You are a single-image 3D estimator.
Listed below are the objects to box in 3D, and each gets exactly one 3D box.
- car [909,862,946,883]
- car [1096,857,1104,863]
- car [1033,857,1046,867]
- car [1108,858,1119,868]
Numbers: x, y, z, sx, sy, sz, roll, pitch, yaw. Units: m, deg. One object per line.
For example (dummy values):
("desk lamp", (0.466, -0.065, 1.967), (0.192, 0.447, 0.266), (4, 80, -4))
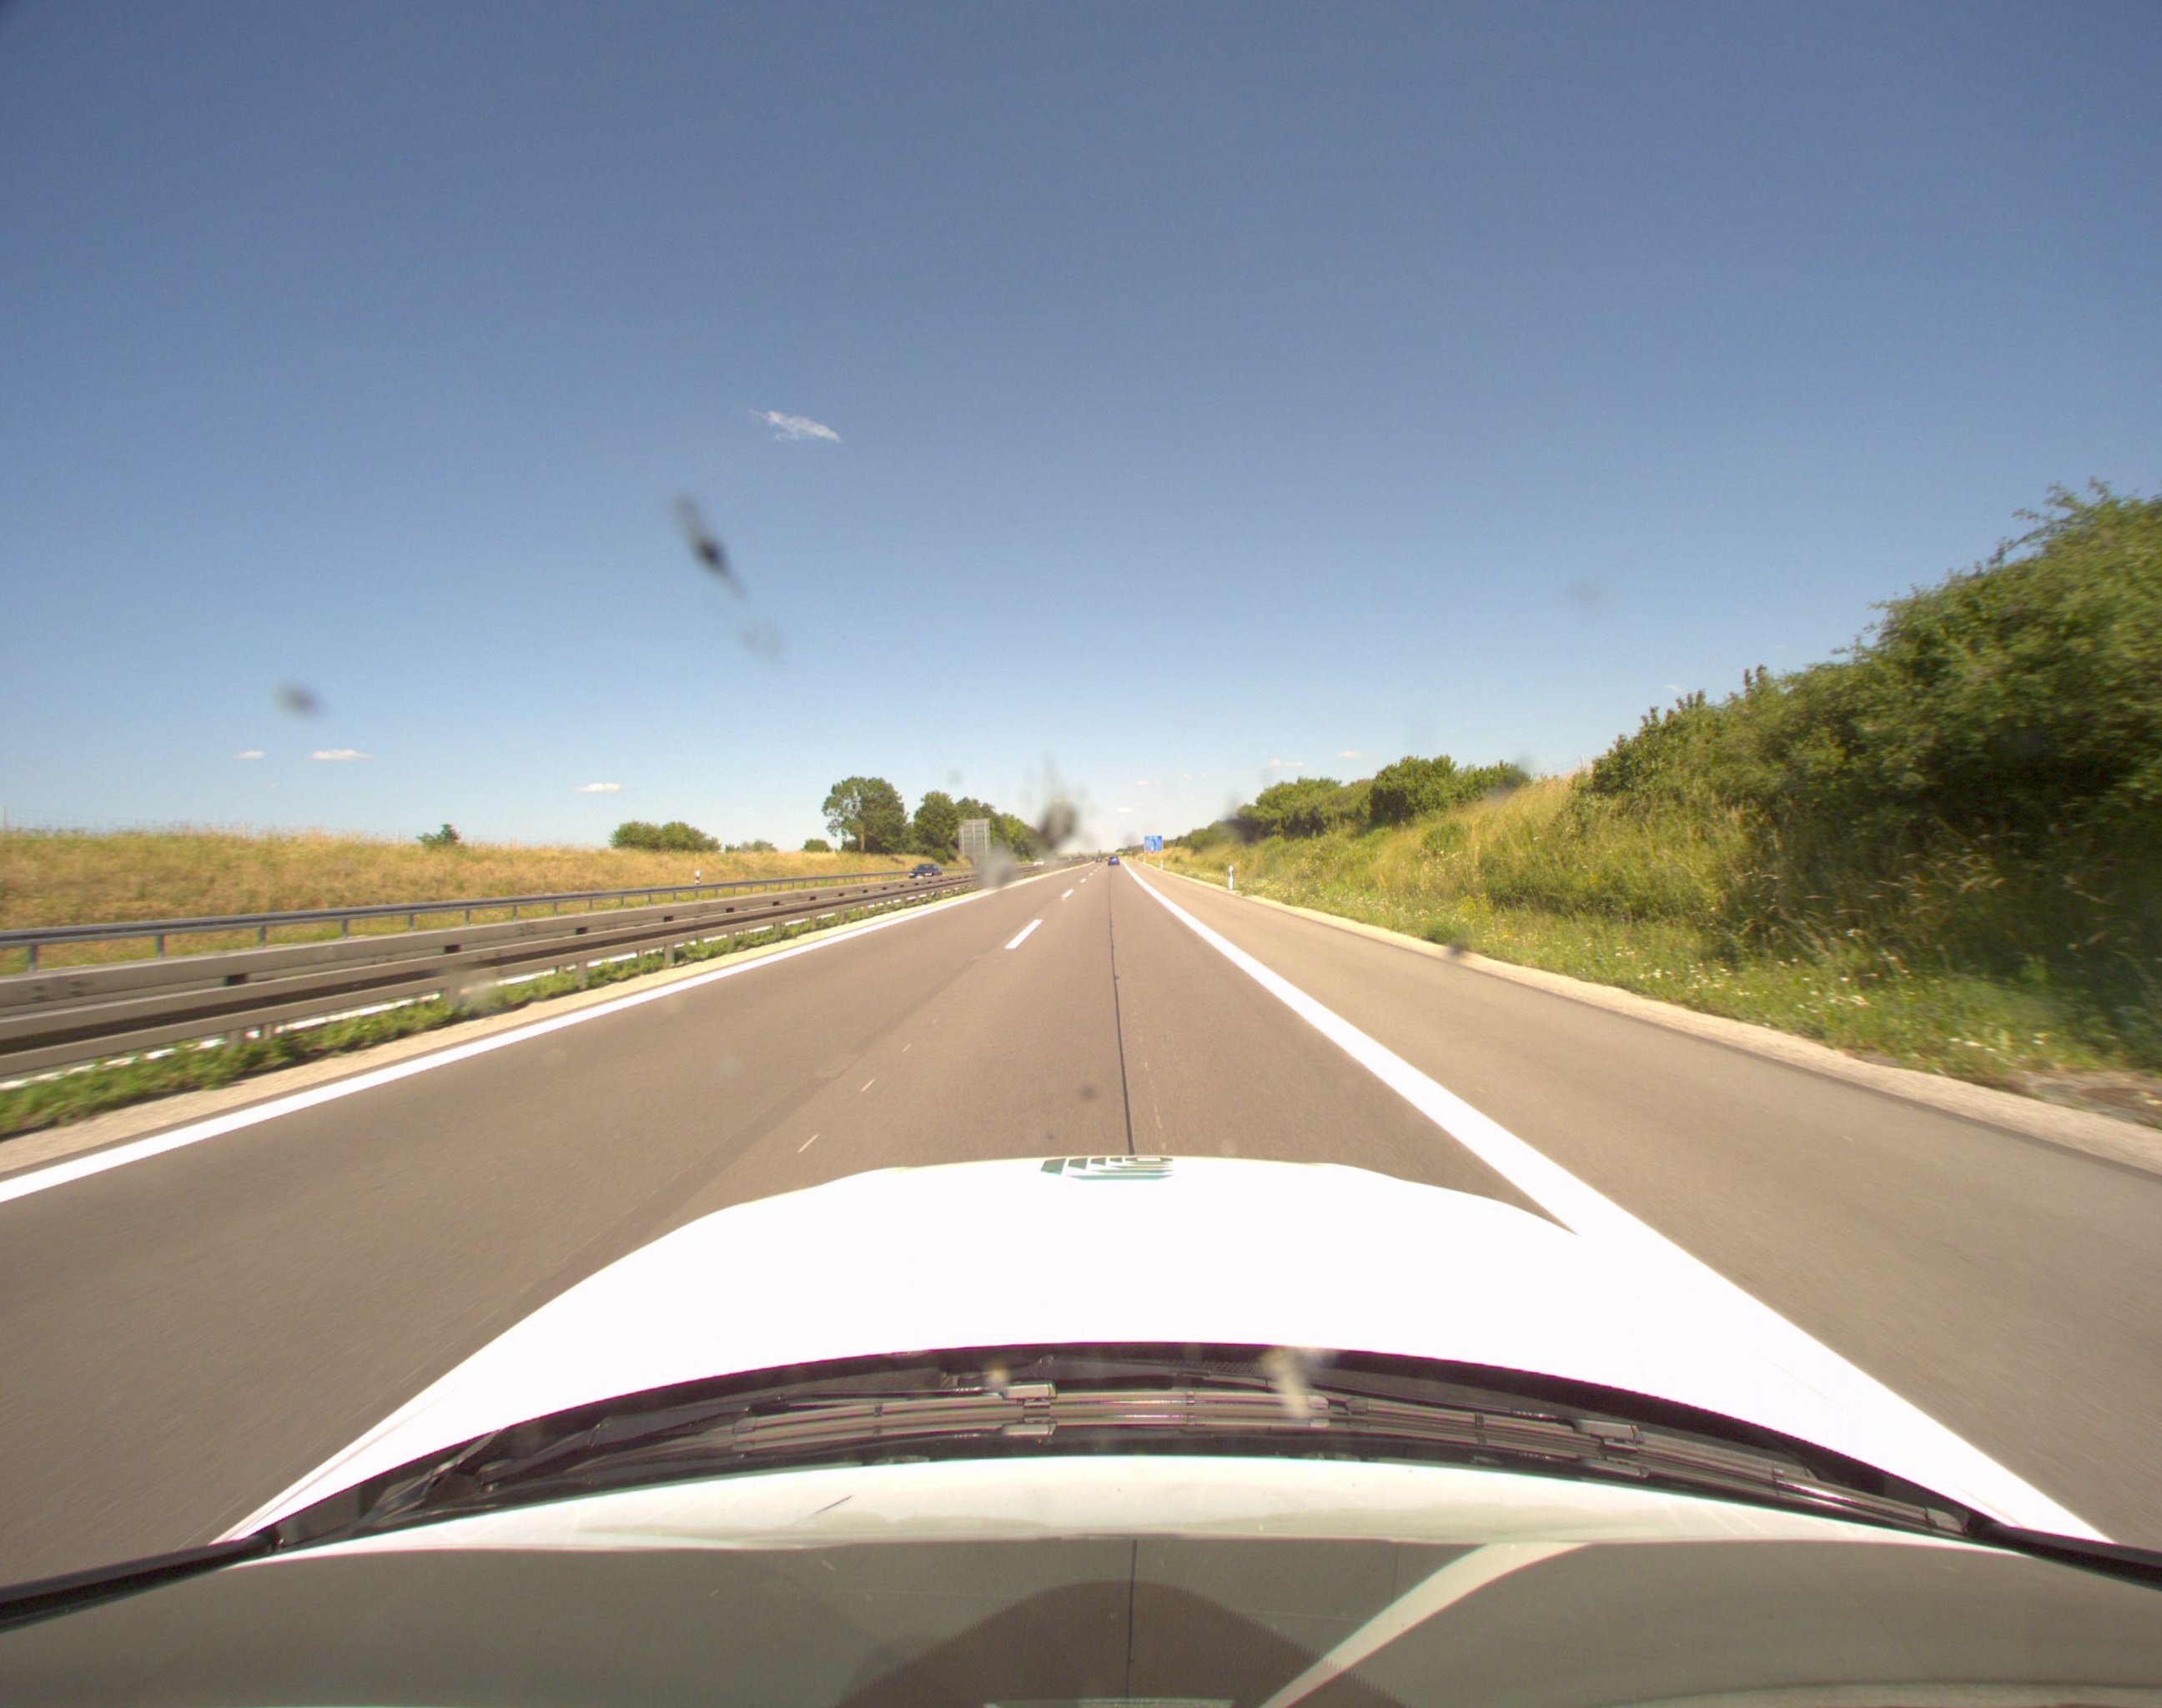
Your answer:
("car", (-12.161, 1.443, 64.940), (1.718, 1.467, 5.244), (-2, 0, 2))
("car", (4.859, 1.623, 210.483), (1.821, 1.453, 3.594), (-4, -1, 3))
("car", (-8.325, 1.615, 163.374), (1.937, 1.845, 5.187), (-2, 0, 3))
("car", (5.025, 1.336, 125.677), (1.669, 1.453, 3.594), (-4, -1, 3))
